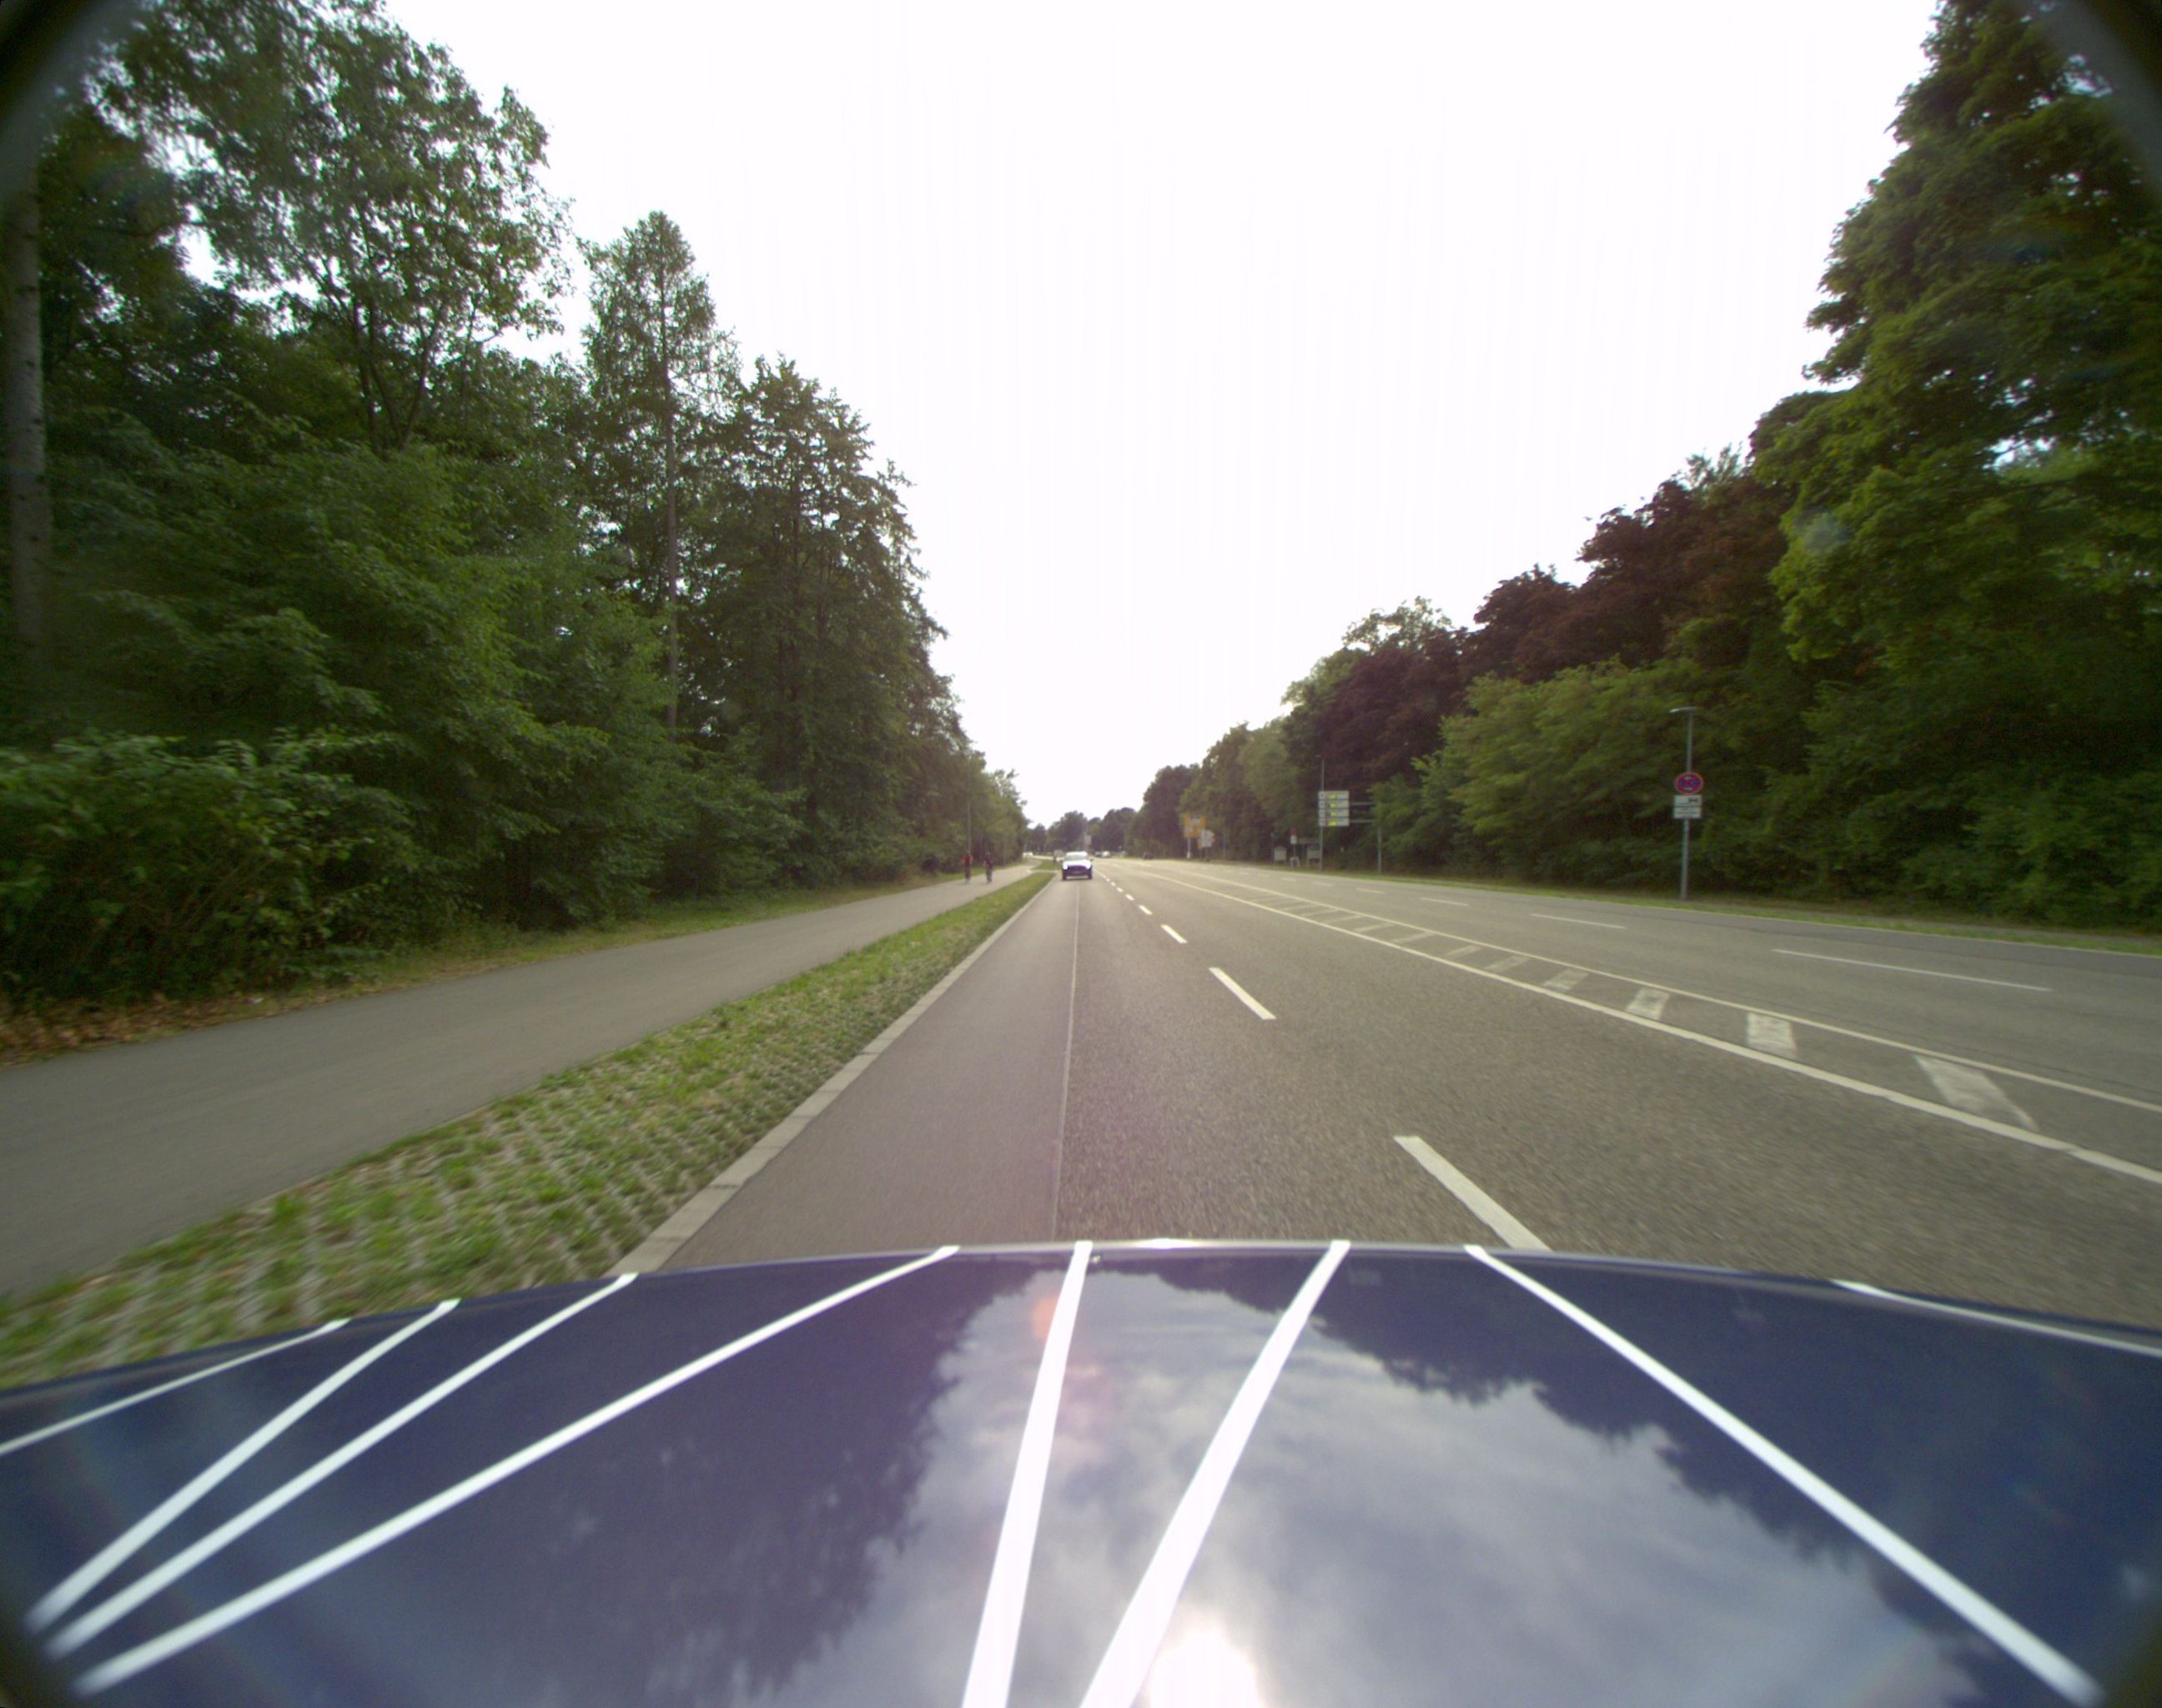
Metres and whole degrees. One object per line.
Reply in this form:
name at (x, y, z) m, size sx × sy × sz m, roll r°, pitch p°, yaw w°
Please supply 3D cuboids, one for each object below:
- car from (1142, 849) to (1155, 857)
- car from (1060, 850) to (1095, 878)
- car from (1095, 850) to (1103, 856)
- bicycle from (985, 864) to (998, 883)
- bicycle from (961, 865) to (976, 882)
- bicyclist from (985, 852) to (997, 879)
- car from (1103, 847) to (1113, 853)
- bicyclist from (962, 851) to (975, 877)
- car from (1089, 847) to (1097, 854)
car at (12.890, -0.159, 145.303) m, size 1.746 × 1.467 × 3.998 m, roll -3°, pitch 1°, yaw -3°
car at (-0.192, 0.584, 47.189) m, size 1.999 × 1.565 × 3.999 m, roll -3°, pitch 1°, yaw 0°
car at (5.576, -0.265, 232.540) m, size 1.999 × 1.871 × 3.998 m, roll -3°, pitch 1°, yaw -4°
bicycle at (-4.914, 1.061, 41.729) m, size 0.567 × 0.906 × 1.754 m, roll 1°, pitch 1°, yaw -2°
bicycle at (-6.139, 1.060, 41.643) m, size 0.567 × 0.906 × 1.887 m, roll 1°, pitch 0°, yaw -2°
bicyclist at (-4.917, 0.622, 41.609) m, size 0.521 × 1.407 × 1.186 m, roll -1°, pitch 1°, yaw -2°
car at (6.955, -0.979, 198.725) m, size 1.940 × 1.492 × 4.588 m, roll -3°, pitch 1°, yaw -6°
bicyclist at (-6.152, 0.536, 41.661) m, size 0.521 × 1.407 × 1.186 m, roll -3°, pitch 1°, yaw -2°
car at (4.009, -1.183, 246.513) m, size 1.999 × 2.002 × 3.997 m, roll -3°, pitch 1°, yaw -6°
